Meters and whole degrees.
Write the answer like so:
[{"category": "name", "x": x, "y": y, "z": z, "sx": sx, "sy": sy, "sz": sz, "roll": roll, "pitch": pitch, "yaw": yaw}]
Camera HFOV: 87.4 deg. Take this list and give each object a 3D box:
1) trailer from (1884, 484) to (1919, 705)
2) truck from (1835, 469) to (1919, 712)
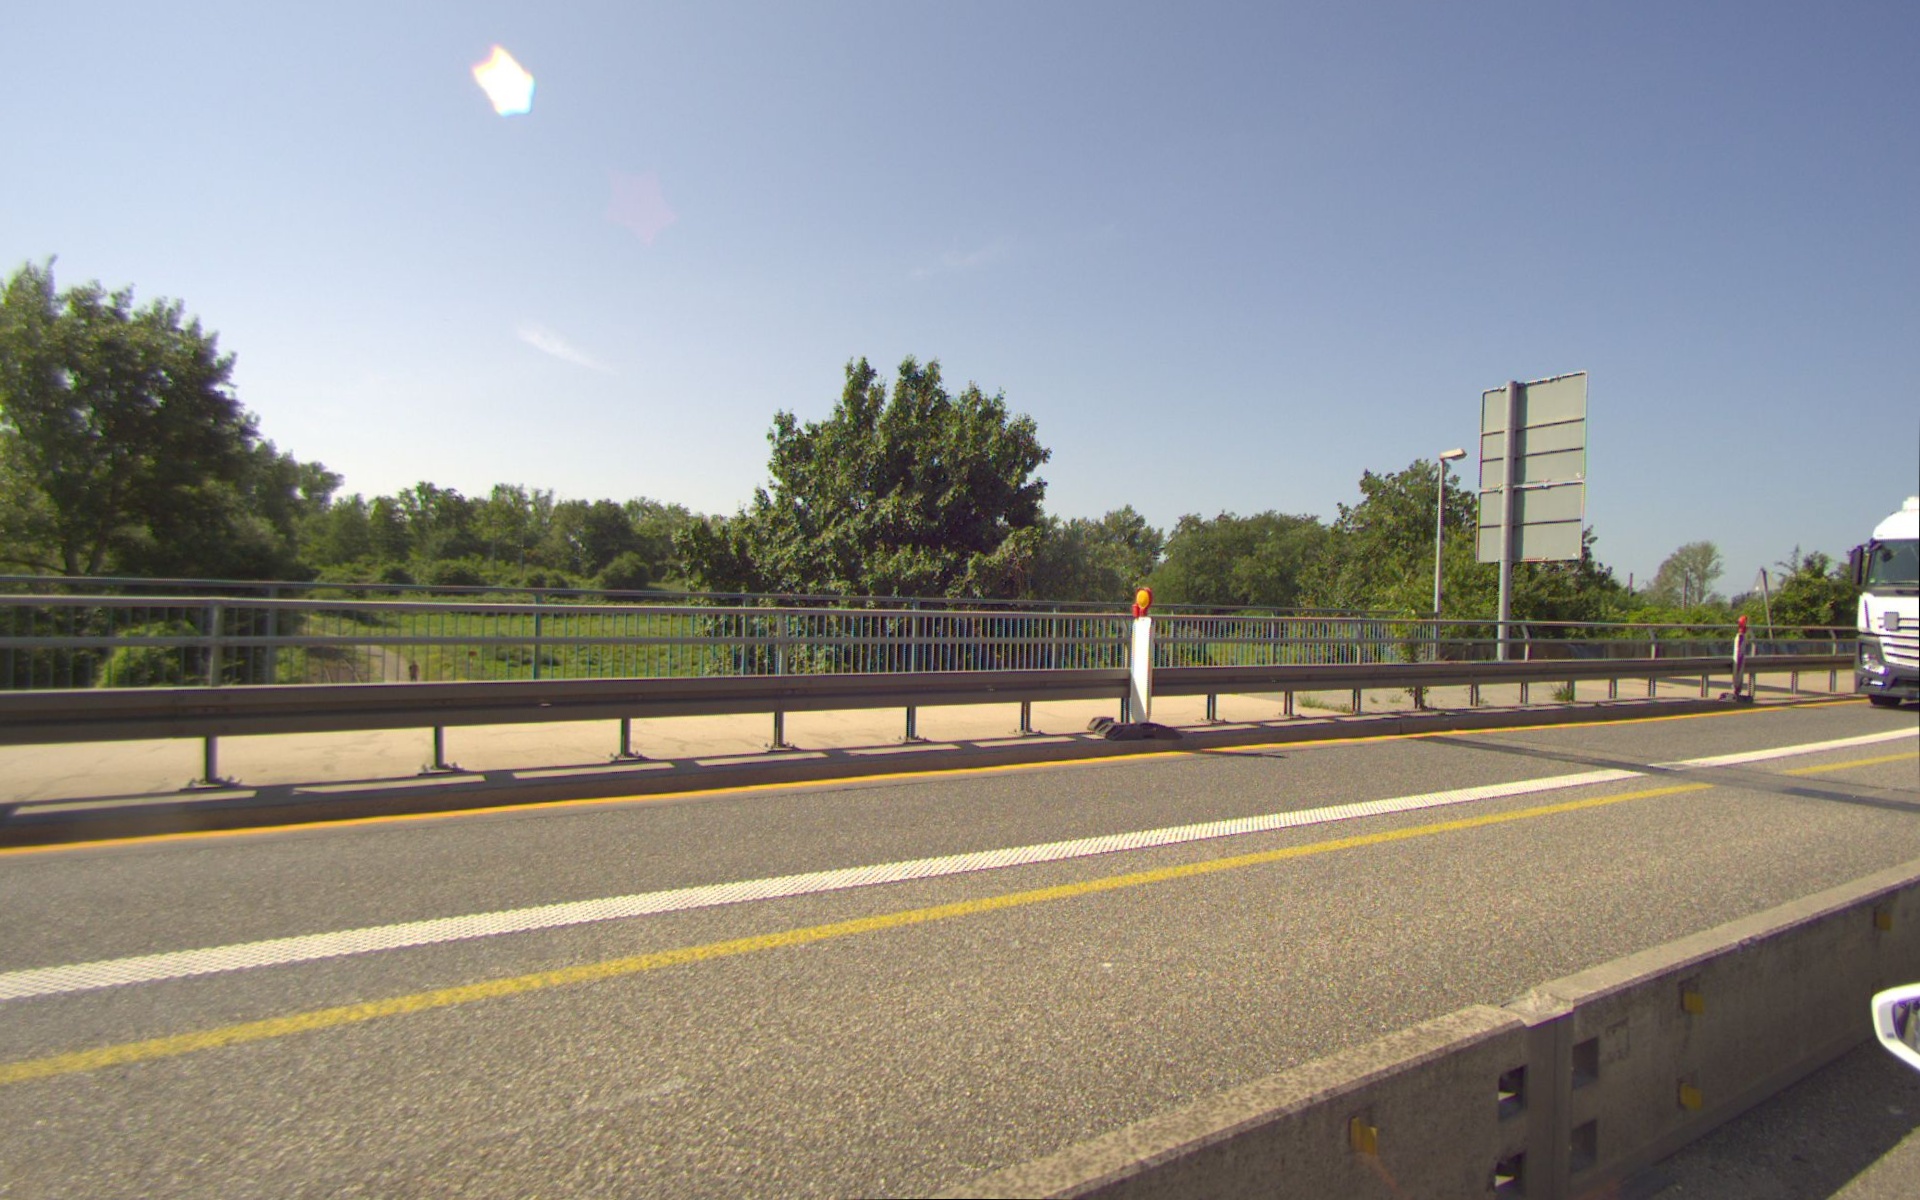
[{"category": "trailer", "x": 24.787, "y": 0.057, "z": 22.126, "sx": 14.368, "sy": 4.191, "sz": 2.746, "roll": 2, "pitch": -1, "yaw": -32}, {"category": "truck", "x": 19.346, "y": -0.092, "z": 18.753, "sx": 6.342, "sy": 4.191, "sz": 2.736, "roll": 1, "pitch": -1, "yaw": -31}]
